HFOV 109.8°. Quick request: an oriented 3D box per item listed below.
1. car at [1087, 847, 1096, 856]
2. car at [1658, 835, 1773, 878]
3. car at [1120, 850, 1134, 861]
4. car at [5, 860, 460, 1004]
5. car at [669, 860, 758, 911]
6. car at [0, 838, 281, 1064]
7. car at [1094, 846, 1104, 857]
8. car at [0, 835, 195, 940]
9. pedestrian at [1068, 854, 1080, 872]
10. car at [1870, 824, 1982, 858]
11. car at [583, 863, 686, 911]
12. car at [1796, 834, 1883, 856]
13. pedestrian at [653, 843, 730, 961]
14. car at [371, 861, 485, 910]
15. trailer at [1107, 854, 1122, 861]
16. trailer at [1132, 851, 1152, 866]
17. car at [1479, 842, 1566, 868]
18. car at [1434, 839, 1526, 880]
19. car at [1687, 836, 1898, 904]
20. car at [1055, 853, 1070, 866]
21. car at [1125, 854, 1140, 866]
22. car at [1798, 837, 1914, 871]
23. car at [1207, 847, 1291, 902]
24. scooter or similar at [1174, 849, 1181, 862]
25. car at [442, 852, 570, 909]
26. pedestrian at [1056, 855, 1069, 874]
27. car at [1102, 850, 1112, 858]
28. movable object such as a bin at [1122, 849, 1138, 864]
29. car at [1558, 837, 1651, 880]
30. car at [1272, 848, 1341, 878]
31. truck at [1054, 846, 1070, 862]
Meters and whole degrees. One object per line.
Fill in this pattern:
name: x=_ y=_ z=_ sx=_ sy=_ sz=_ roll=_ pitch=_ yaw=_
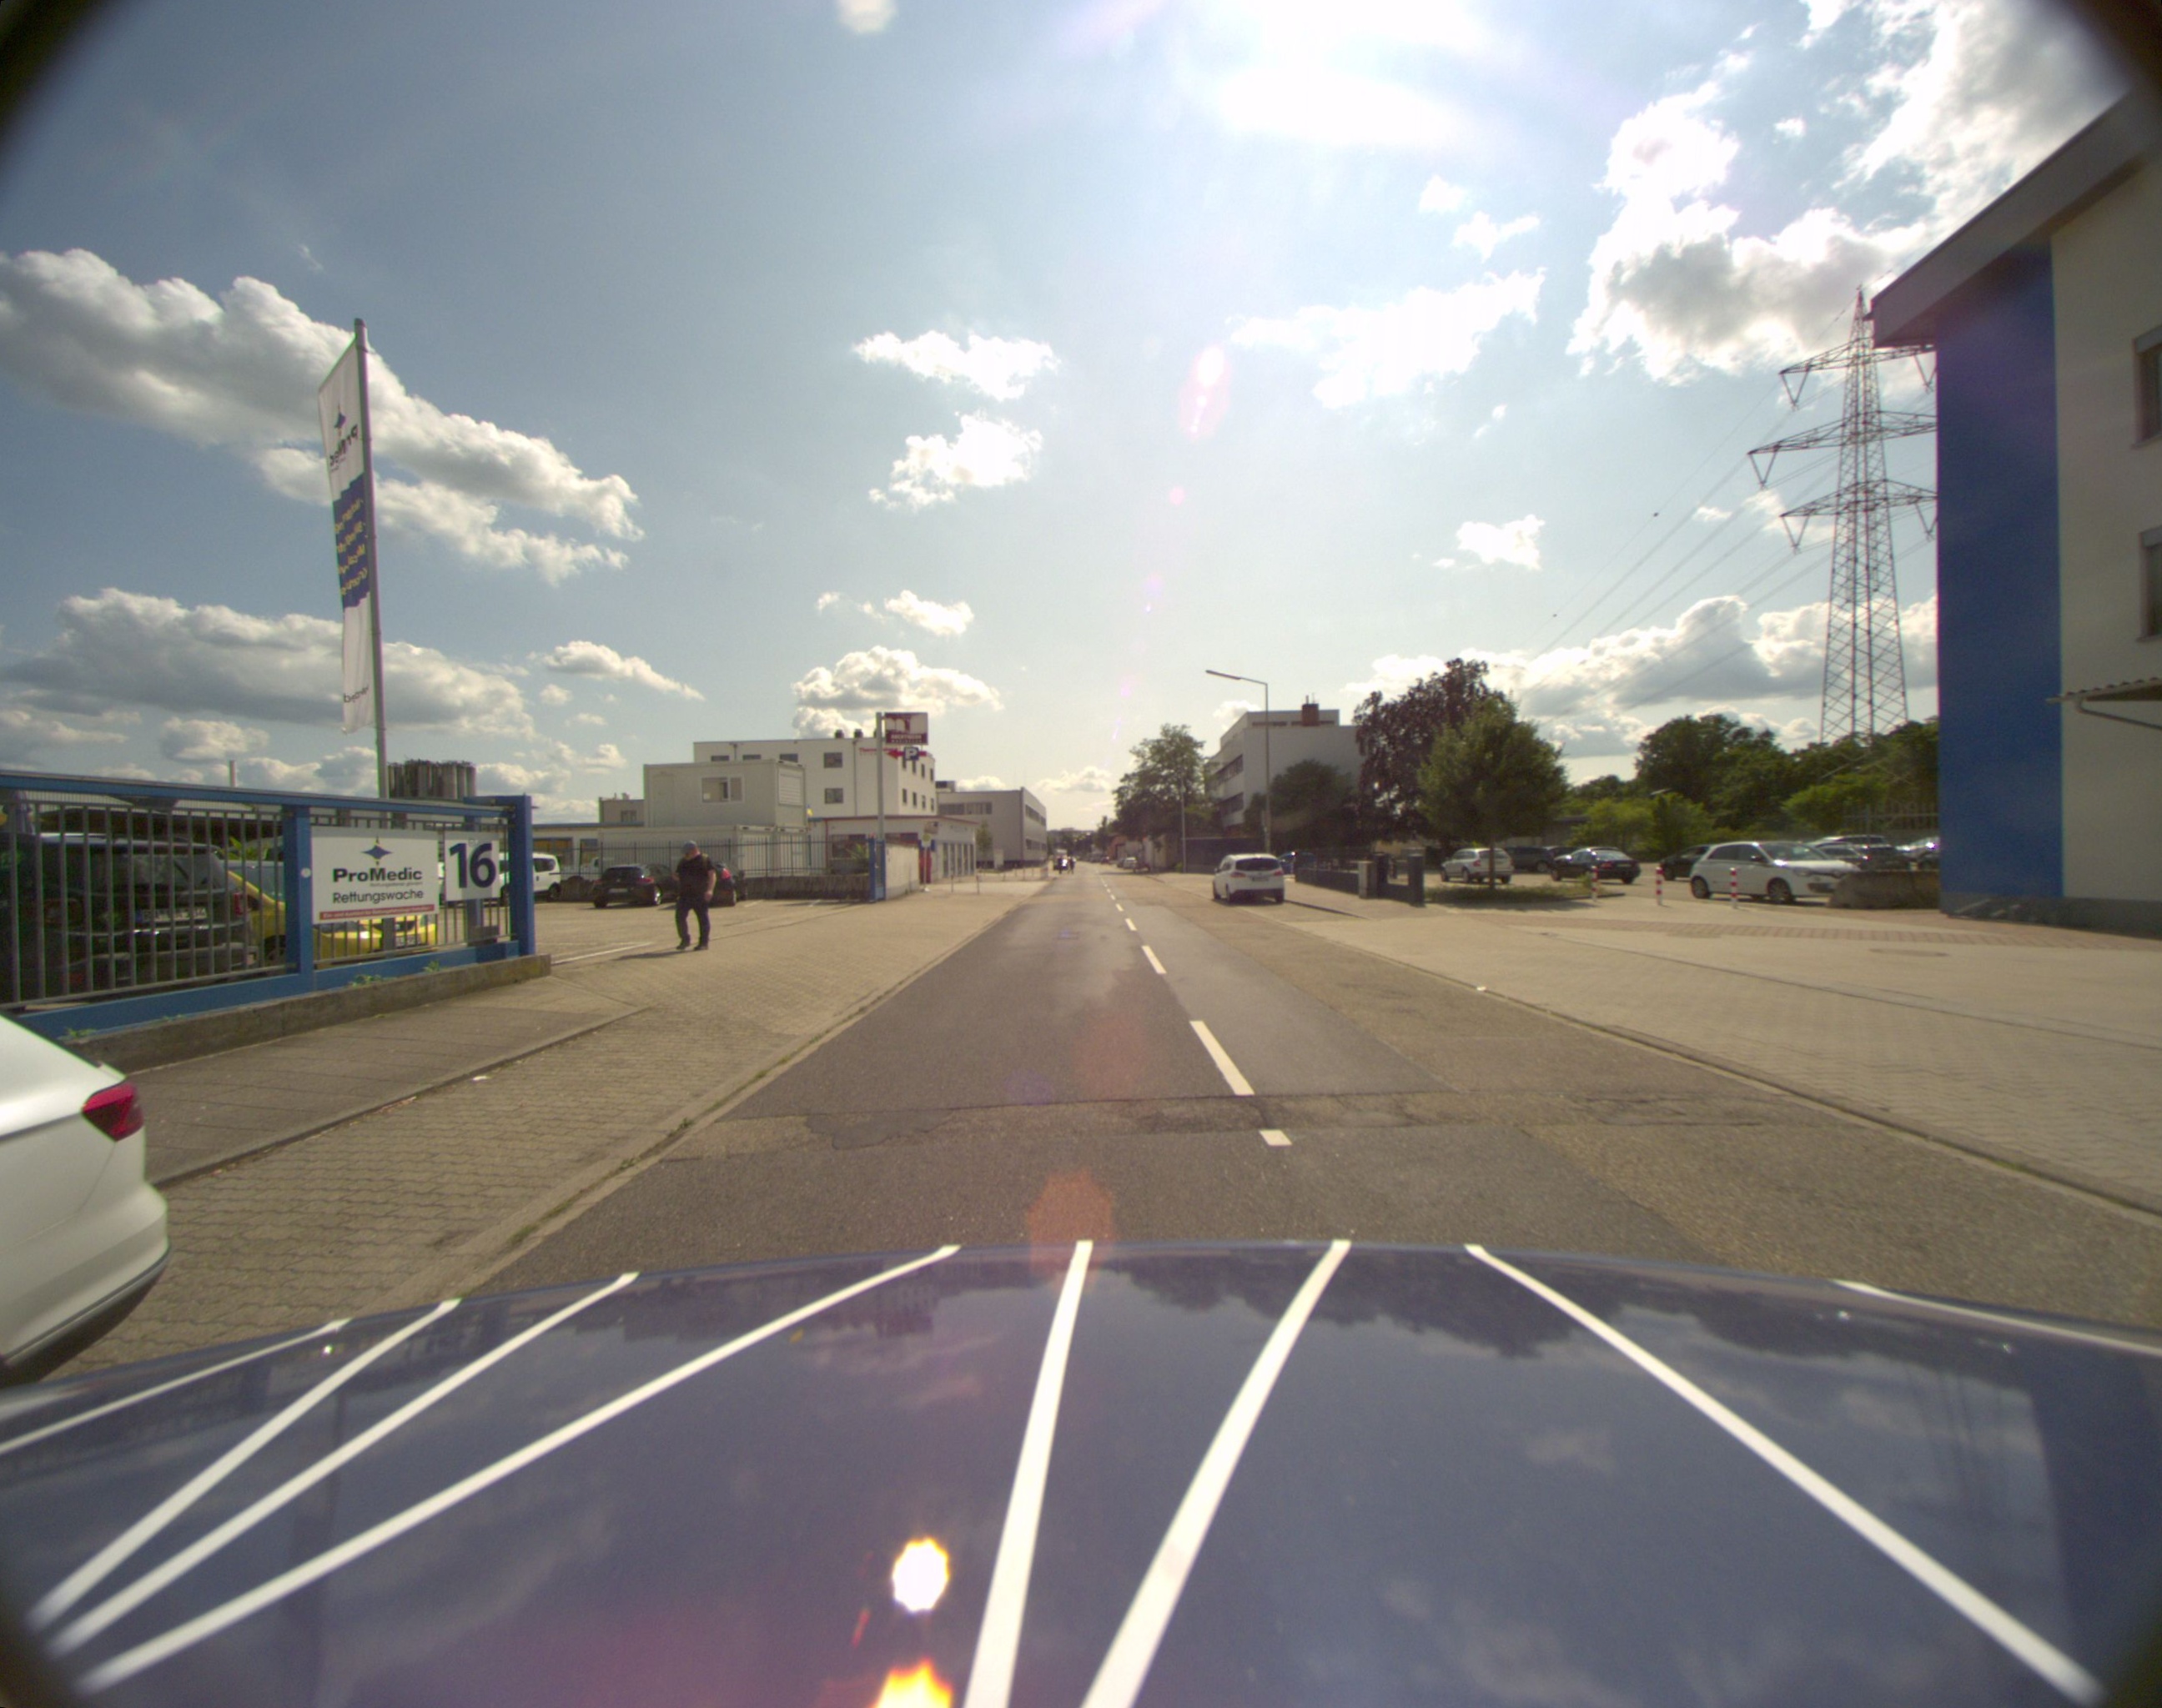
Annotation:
car: x=3.007 y=-0.754 z=215.339 sx=1.999 sy=2.556 sz=5.823 roll=-4 pitch=1 yaw=-2
car: x=27.444 y=0.083 z=33.050 sx=1.876 sy=1.698 sz=4.068 roll=-1 pitch=1 yaw=6
car: x=6.746 y=0.236 z=110.871 sx=1.677 sy=1.447 sz=4.223 roll=-3 pitch=1 yaw=0
car: x=-9.845 y=0.845 z=9.056 sx=3.412 sy=1.481 sz=1.791 roll=1 pitch=1 yaw=0
car: x=-11.793 y=0.953 z=24.624 sx=1.746 sy=1.433 sz=3.828 roll=-1 pitch=1 yaw=-13
car: x=-9.753 y=0.770 z=6.513 sx=3.816 sy=1.670 sz=1.791 roll=-2 pitch=1 yaw=0
car: x=4.457 y=-0.693 z=190.941 sx=2.079 sy=2.527 sz=5.823 roll=-4 pitch=1 yaw=-2
car: x=-21.470 y=0.674 z=15.280 sx=4.690 sy=1.925 sz=2.276 roll=-2 pitch=0 yaw=2
pedestrian: x=-0.719 y=0.893 z=76.282 sx=0.860 sy=1.797 sz=1.003 roll=-1 pitch=1 yaw=-22
car: x=47.224 y=-0.711 z=42.566 sx=3.774 sy=1.774 sz=1.990 roll=-1 pitch=0 yaw=11
car: x=-14.481 y=1.017 z=24.893 sx=1.956 sy=1.369 sz=3.994 roll=-1 pitch=0 yaw=-16
car: x=44.673 y=-0.536 z=44.787 sx=3.318 sy=1.223 sz=1.681 roll=-1 pitch=1 yaw=5
pedestrian: x=-5.974 y=0.717 z=11.687 sx=0.771 sy=1.746 sz=0.787 roll=1 pitch=1 yaw=0
car: x=-22.686 y=1.040 z=26.589 sx=1.558 sy=1.513 sz=3.994 roll=-1 pitch=0 yaw=-18
trailer: x=6.125 y=0.650 z=140.769 sx=2.457 sy=1.157 sz=6.052 roll=-3 pitch=1 yaw=0
trailer: x=6.541 y=0.437 z=81.898 sx=1.771 sy=1.431 sz=4.335 roll=-4 pitch=1 yaw=1
car: x=26.319 y=0.034 z=45.423 sx=4.207 sy=1.493 sz=1.681 roll=-1 pitch=1 yaw=5
car: x=17.367 y=0.207 z=33.332 sx=1.828 sy=1.627 sz=4.846 roll=-1 pitch=1 yaw=5
car: x=17.481 y=0.347 z=18.954 sx=1.877 sy=1.498 sz=3.759 roll=-1 pitch=1 yaw=4
car: x=-2.339 y=0.682 z=97.441 sx=1.663 sy=1.549 sz=4.178 roll=-4 pitch=1 yaw=1
car: x=6.599 y=0.734 z=98.029 sx=1.677 sy=1.447 sz=4.513 roll=-3 pitch=1 yaw=1
car: x=32.239 y=-0.001 z=31.744 sx=1.539 sy=1.314 sz=3.764 roll=-1 pitch=0 yaw=11
car: x=5.740 y=0.628 z=26.576 sx=1.872 sy=1.698 sz=4.752 roll=-2 pitch=1 yaw=0
scooter or similar: x=9.884 y=0.171 z=77.751 sx=0.483 sy=1.272 sz=1.360 roll=-4 pitch=1 yaw=1
car: x=-19.653 y=0.842 z=26.218 sx=1.692 sy=1.796 sz=4.275 roll=-1 pitch=0 yaw=-9
pedestrian: x=-1.831 y=1.043 z=76.341 sx=0.994 sy=1.940 sz=1.089 roll=-1 pitch=1 yaw=-22
car: x=5.488 y=-0.033 z=159.254 sx=1.714 sy=1.459 sz=4.628 roll=-4 pitch=1 yaw=-1
movable object such as a bin: x=6.653 y=0.358 z=103.141 sx=1.618 sy=1.908 sz=5.138 roll=-5 pitch=0 yaw=0
car: x=22.439 y=0.165 z=32.744 sx=1.876 sy=1.698 sz=3.481 roll=-1 pitch=1 yaw=7
car: x=13.804 y=0.524 z=46.685 sx=3.657 sy=1.698 sz=1.878 roll=-1 pitch=1 yaw=0
truck: x=-4.025 y=-0.029 z=158.899 sx=2.608 sy=3.207 sz=8.074 roll=-4 pitch=1 yaw=-4
